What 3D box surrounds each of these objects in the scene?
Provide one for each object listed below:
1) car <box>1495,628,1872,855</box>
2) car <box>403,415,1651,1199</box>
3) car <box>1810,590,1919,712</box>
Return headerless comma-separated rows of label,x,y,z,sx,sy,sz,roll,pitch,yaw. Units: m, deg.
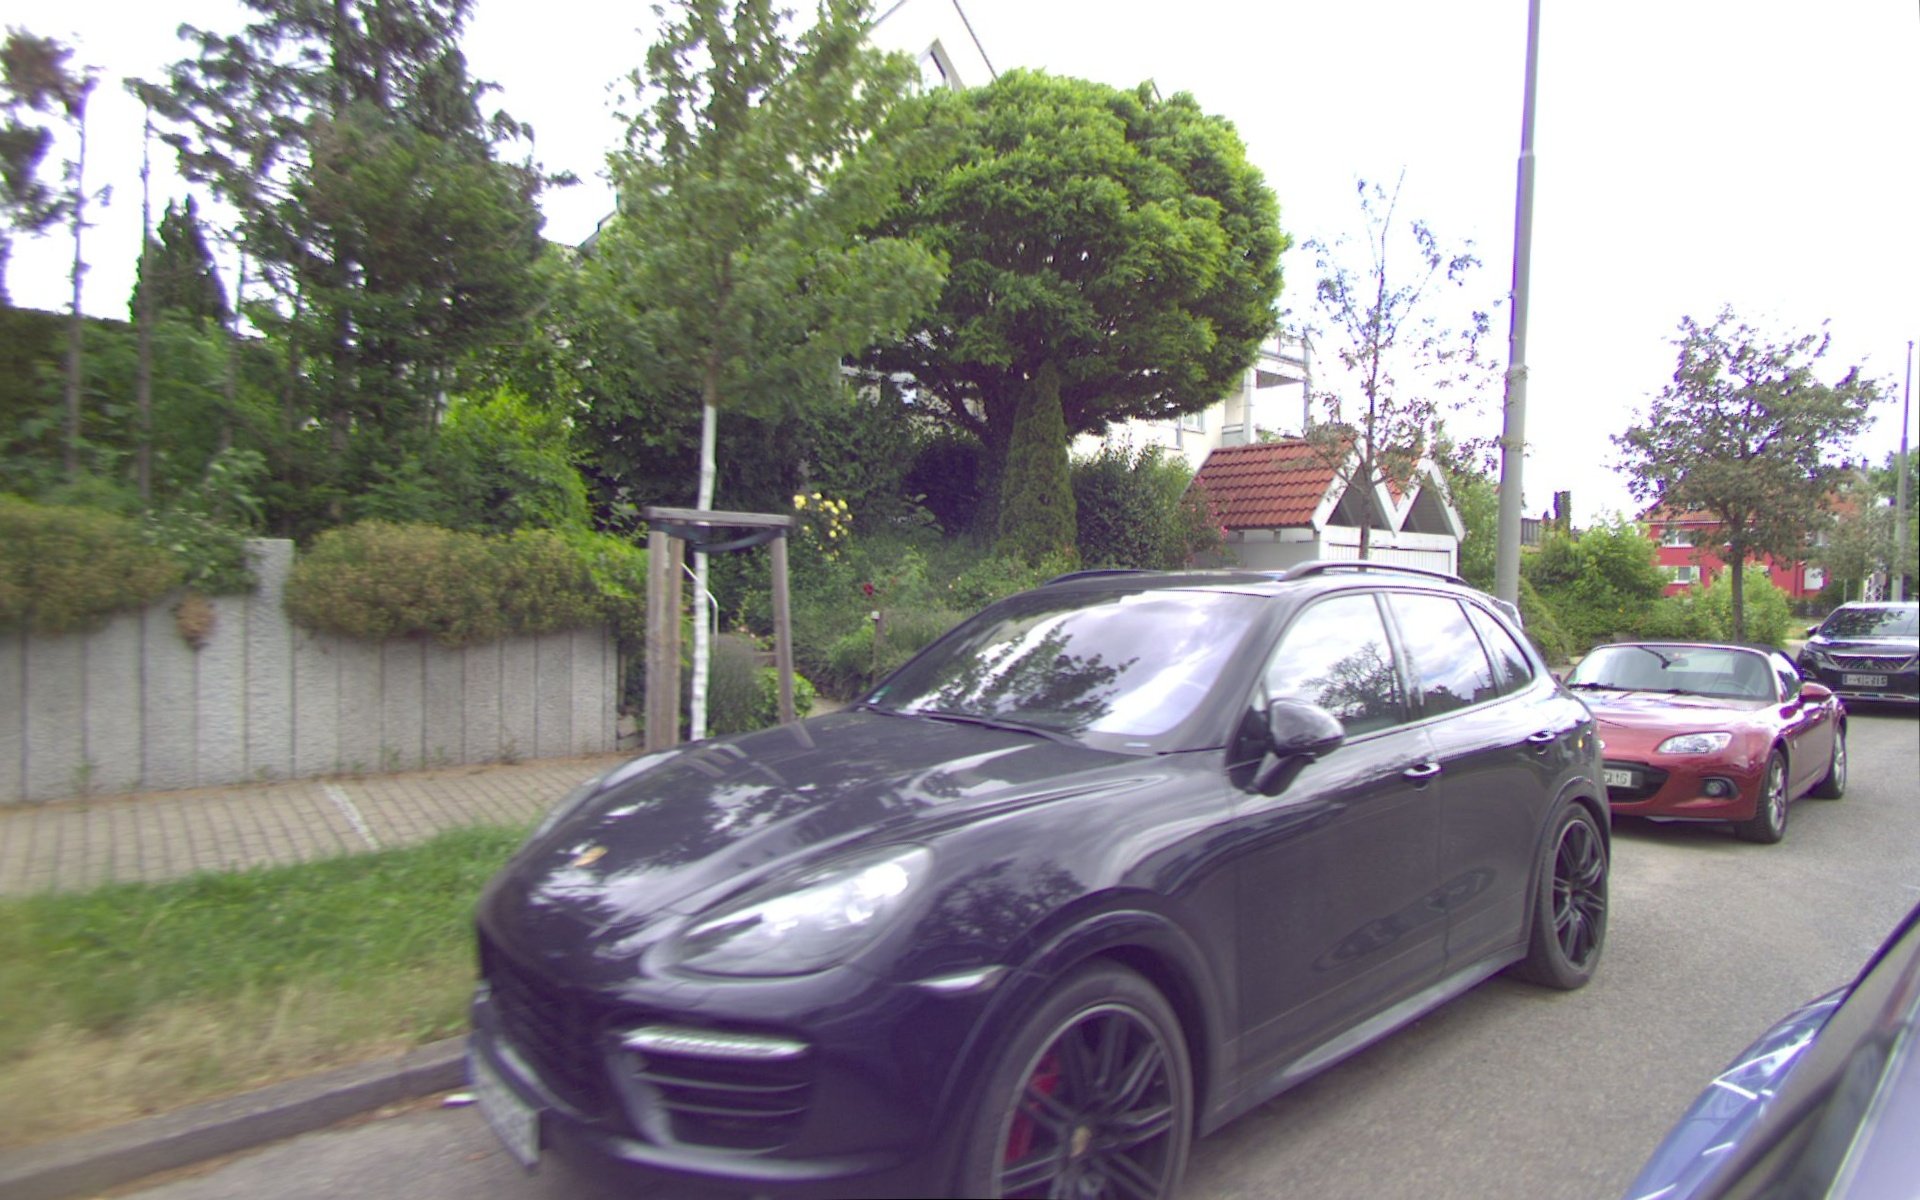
car,5.665,0.880,7.750,3.816,1.252,1.483,0,-1,-41
car,0.686,0.614,3.648,4.468,1.734,1.833,0,-2,-40
car,14.174,0.681,15.052,4.037,1.629,1.691,0,-1,-40
